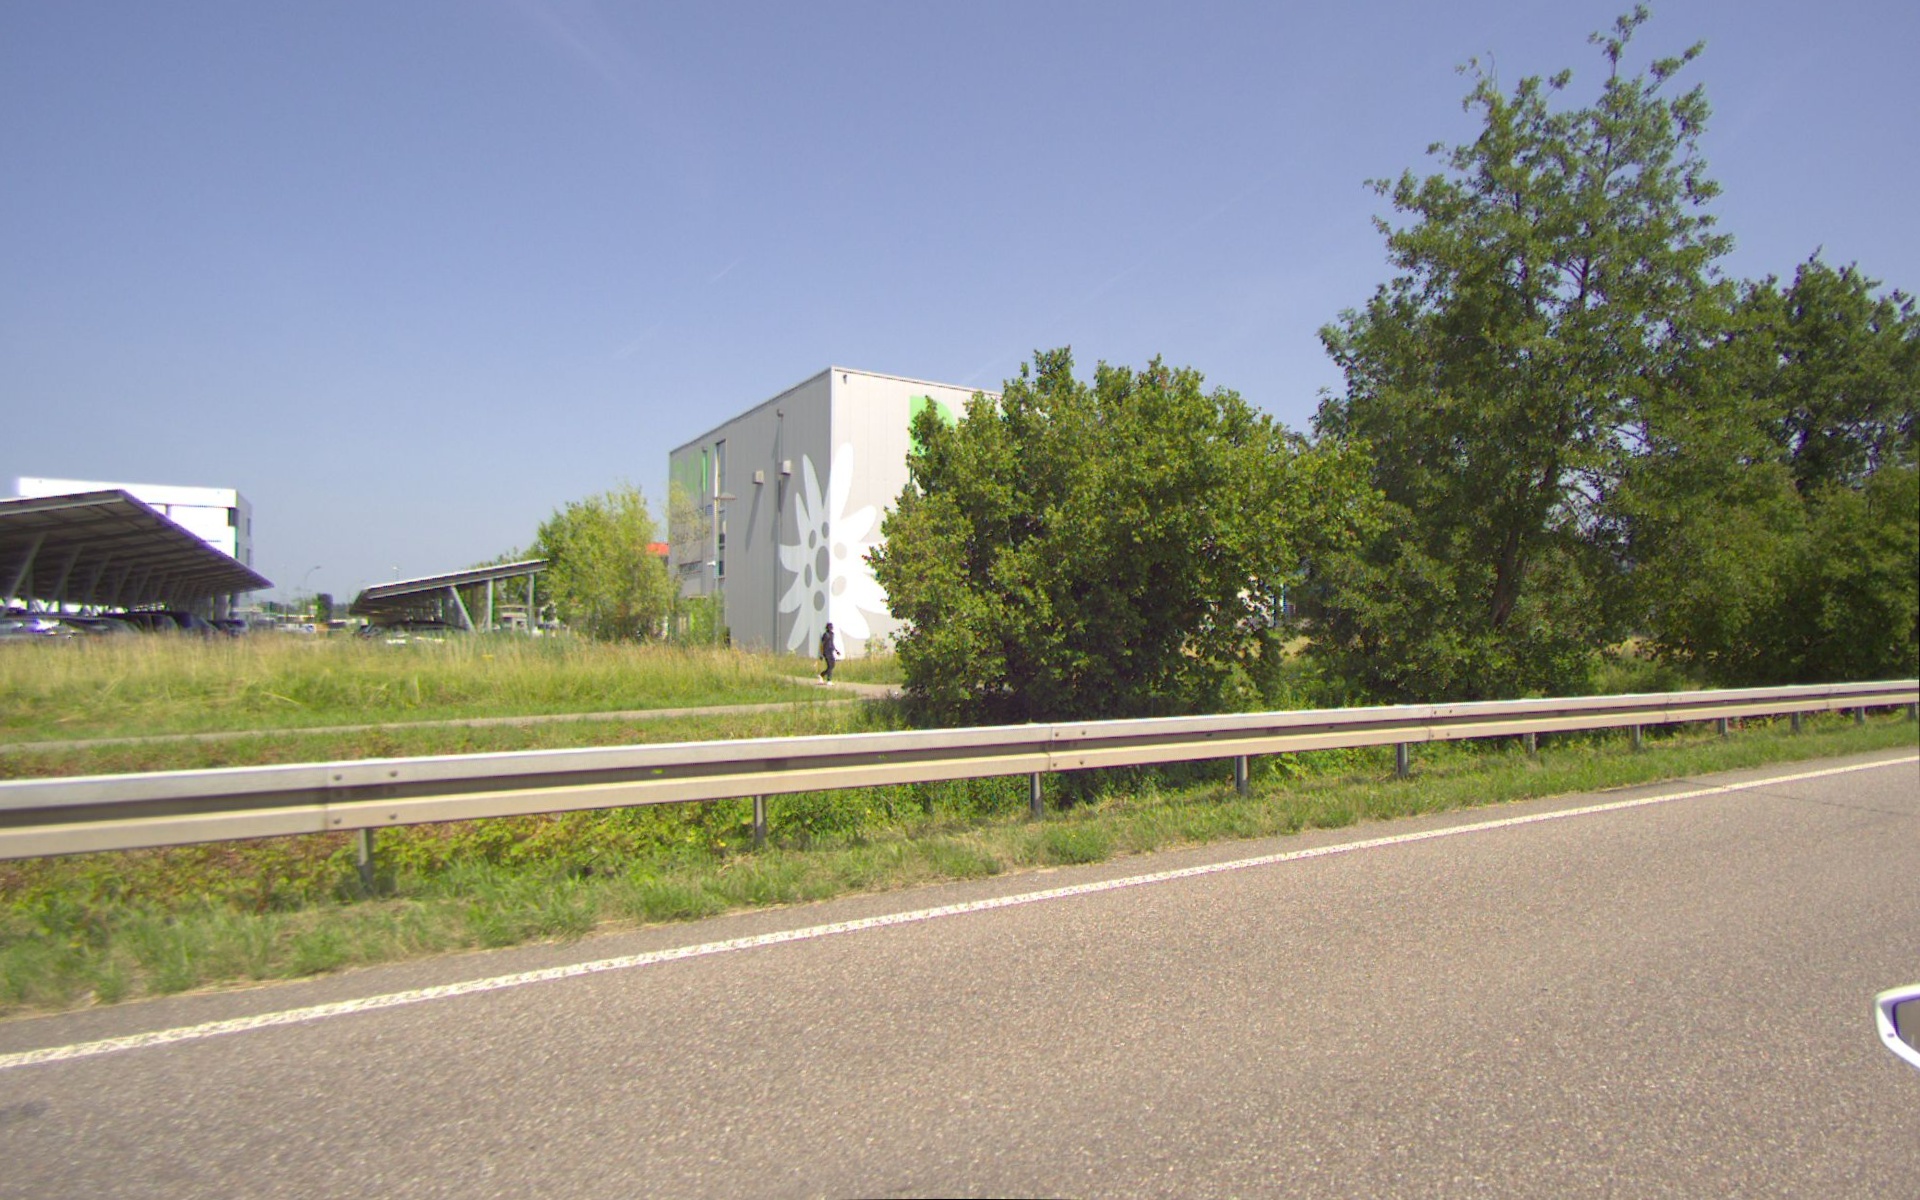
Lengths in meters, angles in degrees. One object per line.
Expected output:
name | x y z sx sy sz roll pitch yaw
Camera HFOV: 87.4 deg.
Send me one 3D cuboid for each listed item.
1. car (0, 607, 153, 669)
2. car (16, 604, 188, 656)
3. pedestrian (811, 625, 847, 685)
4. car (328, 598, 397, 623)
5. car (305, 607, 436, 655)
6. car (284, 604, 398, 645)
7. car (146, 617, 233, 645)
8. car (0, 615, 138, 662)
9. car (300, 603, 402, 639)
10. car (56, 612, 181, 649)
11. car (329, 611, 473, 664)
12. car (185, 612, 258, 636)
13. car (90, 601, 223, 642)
car | -25.142 1.031 27.878 3.953 1.598 1.984 1 0 -30
car | -27.946 0.974 32.914 3.953 1.598 1.984 1 0 -30
pedestrian | -3.914 1.636 30.098 0.918 1.772 0.719 1 0 2
car | -40.787 0.717 68.697 3.953 1.598 1.984 1 0 -30
car | -21.298 1.116 36.436 3.953 1.598 1.984 1 0 -30
car | -25.819 1.022 42.074 3.953 1.598 1.984 1 0 -30
car | -46.388 1.839 60.587 3.956 1.598 1.982 1 0 -33
car | -26.881 1.129 30.075 3.328 1.309 1.609 1 0 -33
car | -28.199 0.974 46.657 3.953 1.598 1.984 1 0 -30
car | -31.031 1.118 37.157 3.328 1.309 1.609 1 0 -33
car | -17.967 1.185 32.408 3.953 1.598 1.984 1 0 -30
car | -52.708 1.702 71.777 3.953 1.598 1.984 1 0 -30
car | -32.852 0.873 41.203 3.953 1.598 1.984 1 0 -30
